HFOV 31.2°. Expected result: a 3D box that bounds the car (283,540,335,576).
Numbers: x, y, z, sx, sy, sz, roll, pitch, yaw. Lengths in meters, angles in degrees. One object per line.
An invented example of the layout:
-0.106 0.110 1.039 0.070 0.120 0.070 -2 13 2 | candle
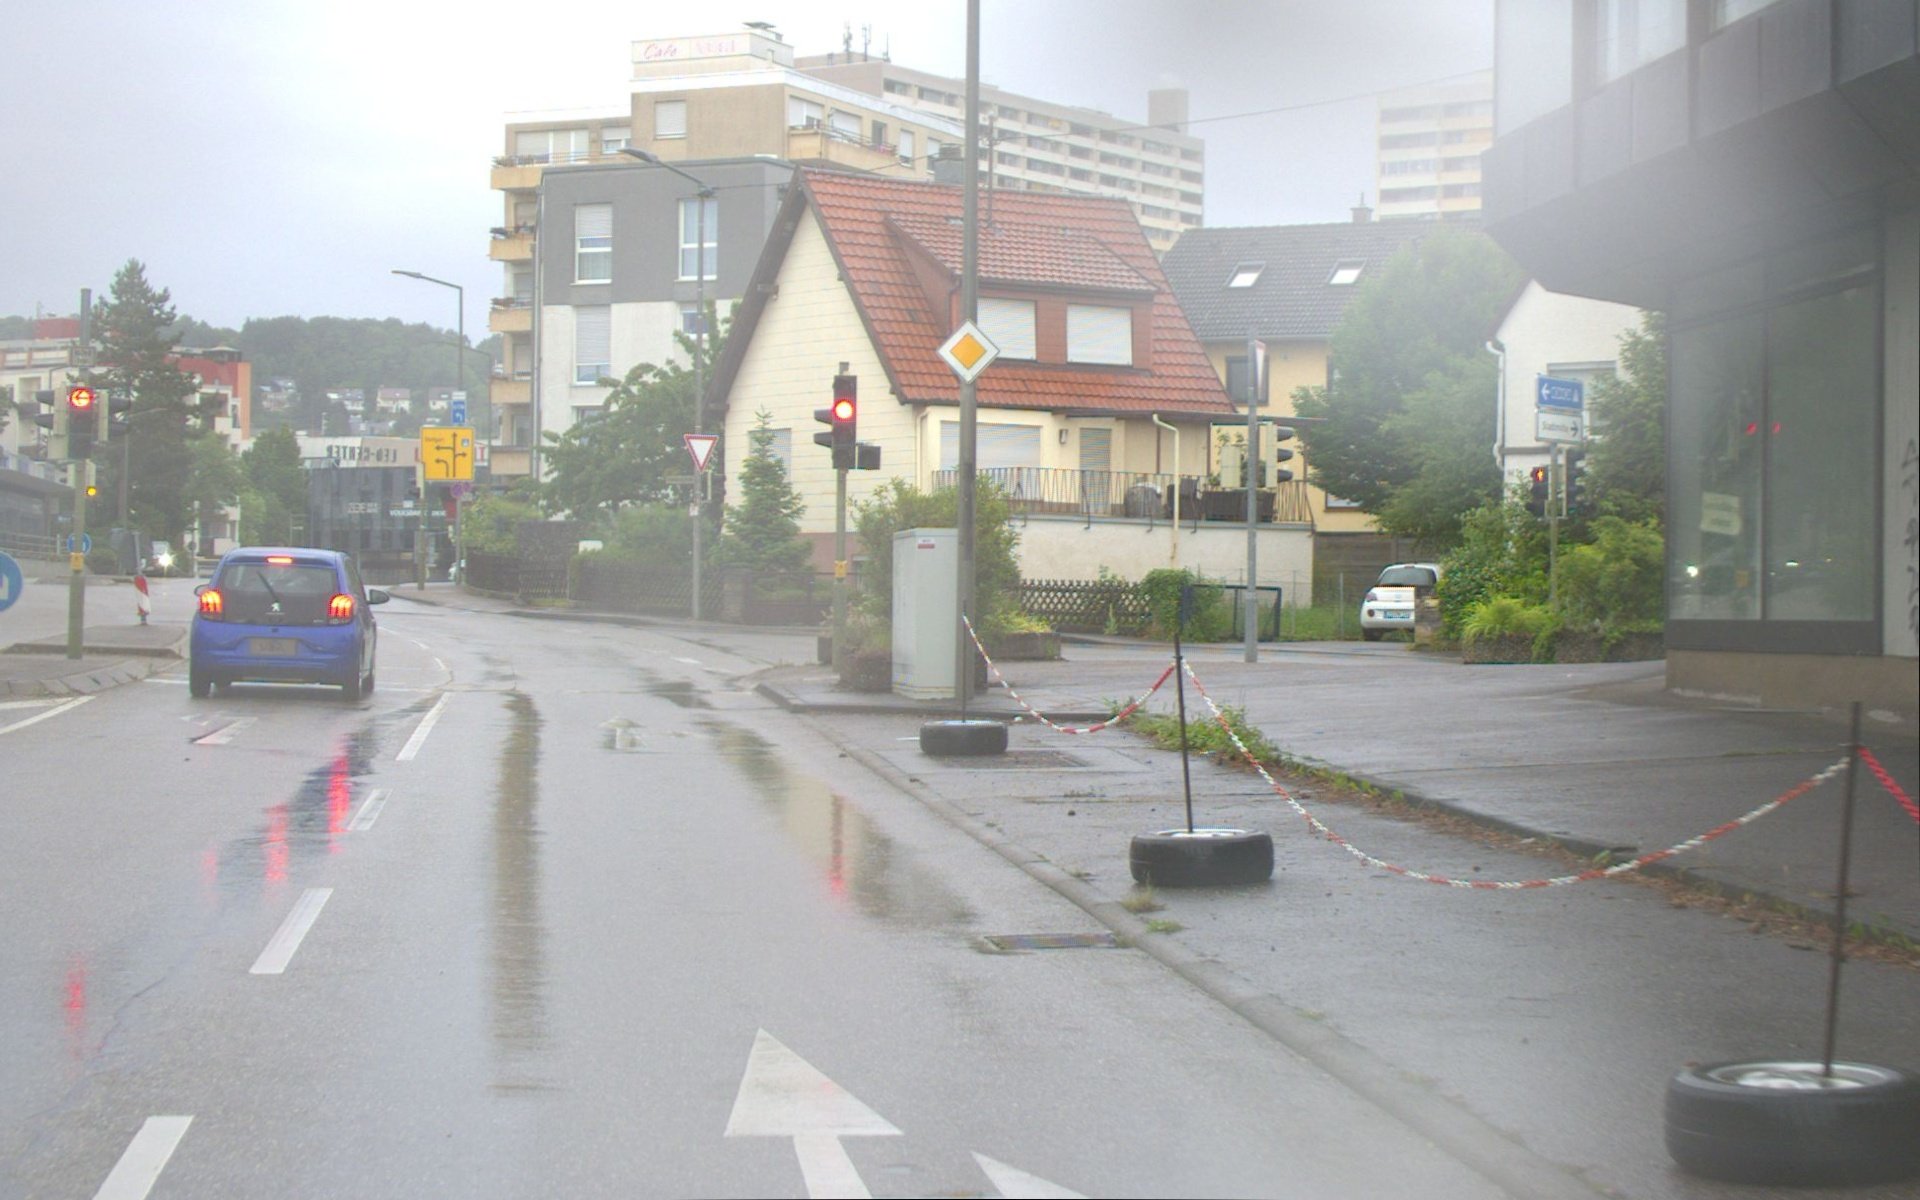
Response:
-27.604 -1.795 145.866 1.812 1.481 4.190 0 1 -6 | car

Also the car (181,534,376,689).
-6.617 0.078 33.629 1.578 1.406 3.271 2 1 -7 | car

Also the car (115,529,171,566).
-32.875 -2.136 138.418 1.778 1.415 3.832 1 1 -7 | car

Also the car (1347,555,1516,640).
8.930 -0.053 64.936 1.742 1.509 3.993 2 1 30 | car
